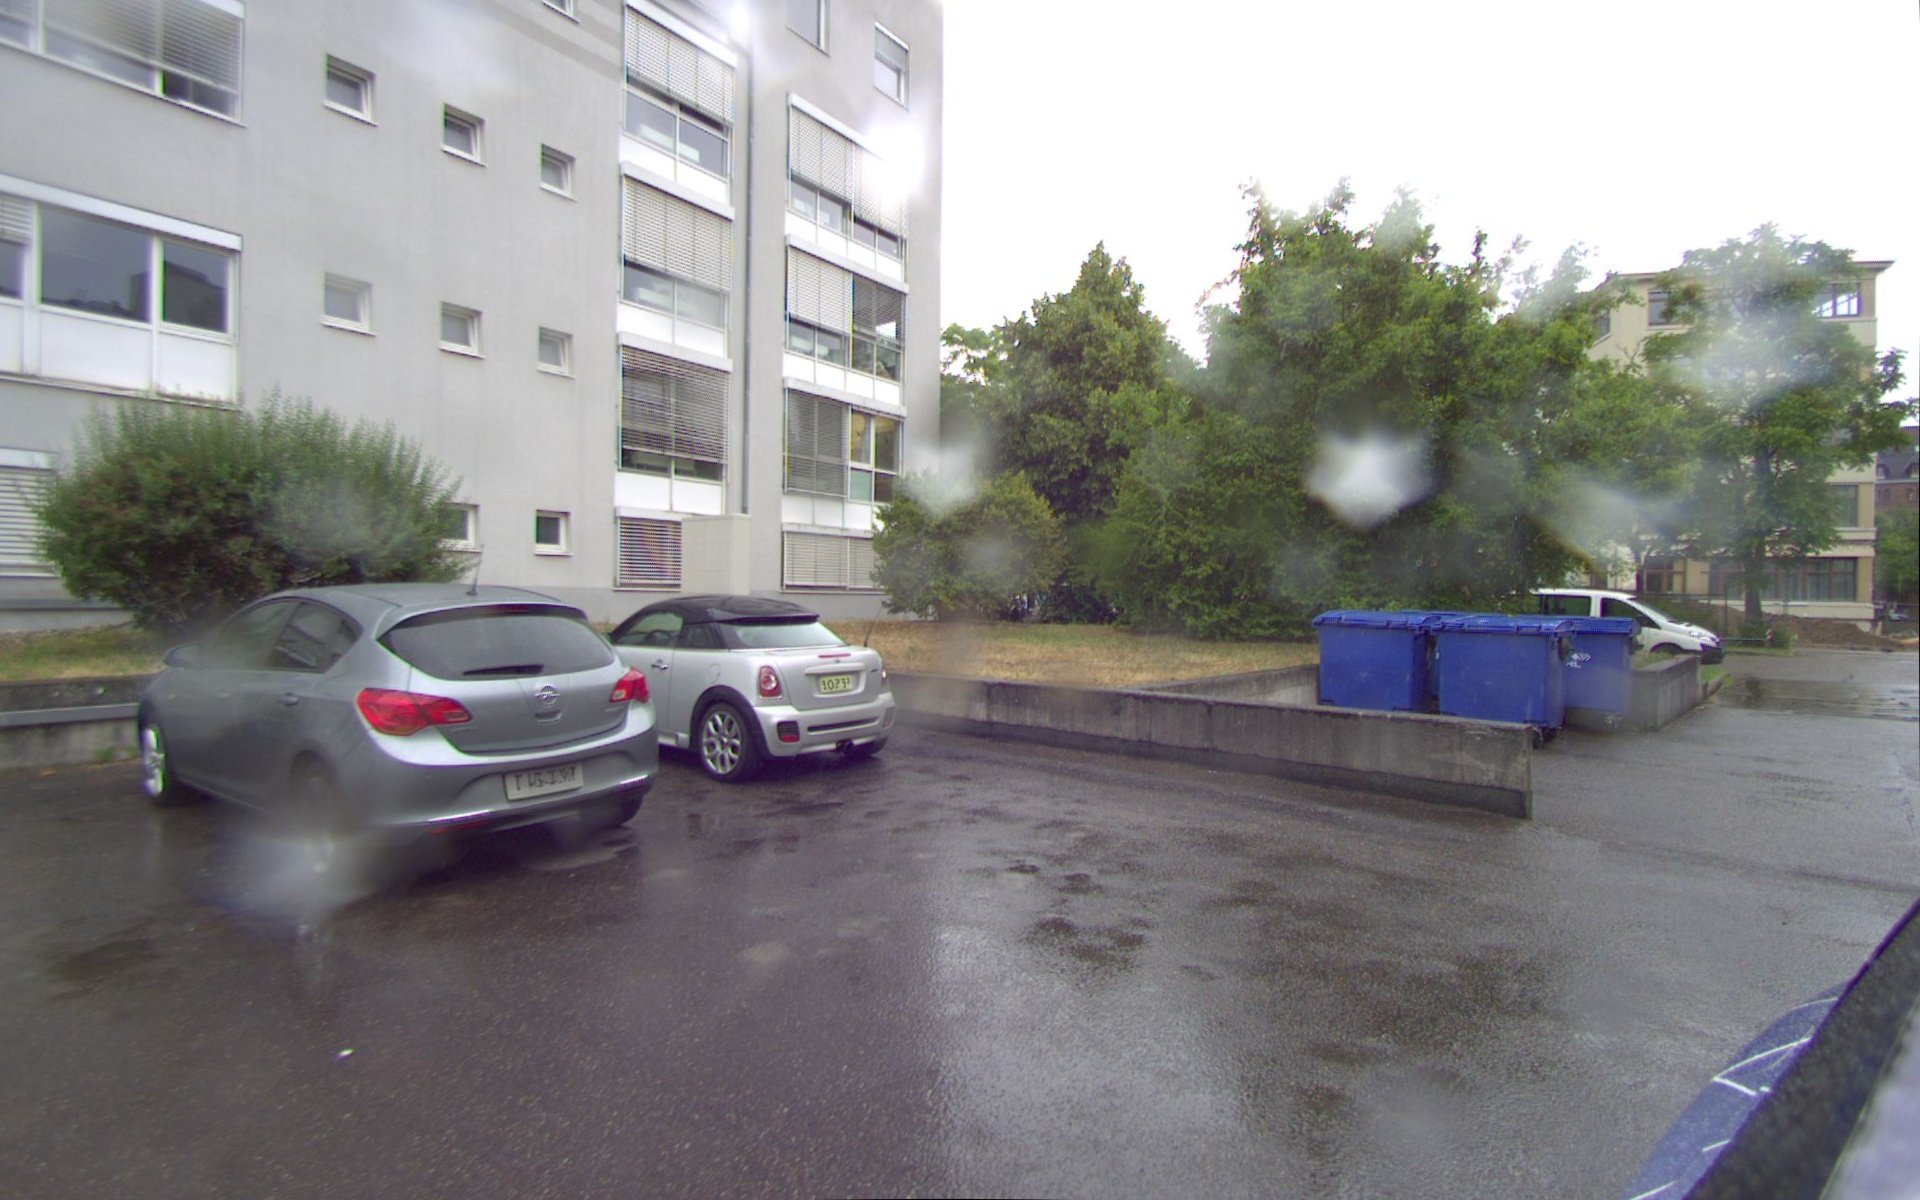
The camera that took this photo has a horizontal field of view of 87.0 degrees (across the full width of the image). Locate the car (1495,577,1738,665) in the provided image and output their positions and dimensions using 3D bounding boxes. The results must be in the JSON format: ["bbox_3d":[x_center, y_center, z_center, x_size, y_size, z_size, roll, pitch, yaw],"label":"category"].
[{"bbox_3d":[15.836,0.532,24.583,4.680,1.906,2.089,-1,-4,43],"label":"car"}]

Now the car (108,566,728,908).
[{"bbox_3d":[-3.656,0.597,6.555,4.197,1.508,1.973,1,-1,37],"label":"car"}]

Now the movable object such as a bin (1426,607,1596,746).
[{"bbox_3d":[6.098,0.797,11.158,1.307,1.375,1.877,-1,-3,40],"label":"movable object such as a bin"}]

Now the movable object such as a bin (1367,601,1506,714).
[{"bbox_3d":[6.386,0.744,13.515,1.228,1.375,1.941,-1,-3,40],"label":"movable object such as a bin"}]

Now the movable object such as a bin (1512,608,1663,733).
[{"bbox_3d":[7.652,0.819,12.307,1.307,1.375,1.877,-1,-3,40],"label":"movable object such as a bin"}]

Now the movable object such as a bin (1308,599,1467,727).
[{"bbox_3d":[5.103,0.717,12.020,1.228,1.375,1.941,-1,-3,40],"label":"movable object such as a bin"}]

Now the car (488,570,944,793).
[{"bbox_3d":[-2.408,0.565,9.447,4.201,1.508,1.972,3,1,39],"label":"car"}]
